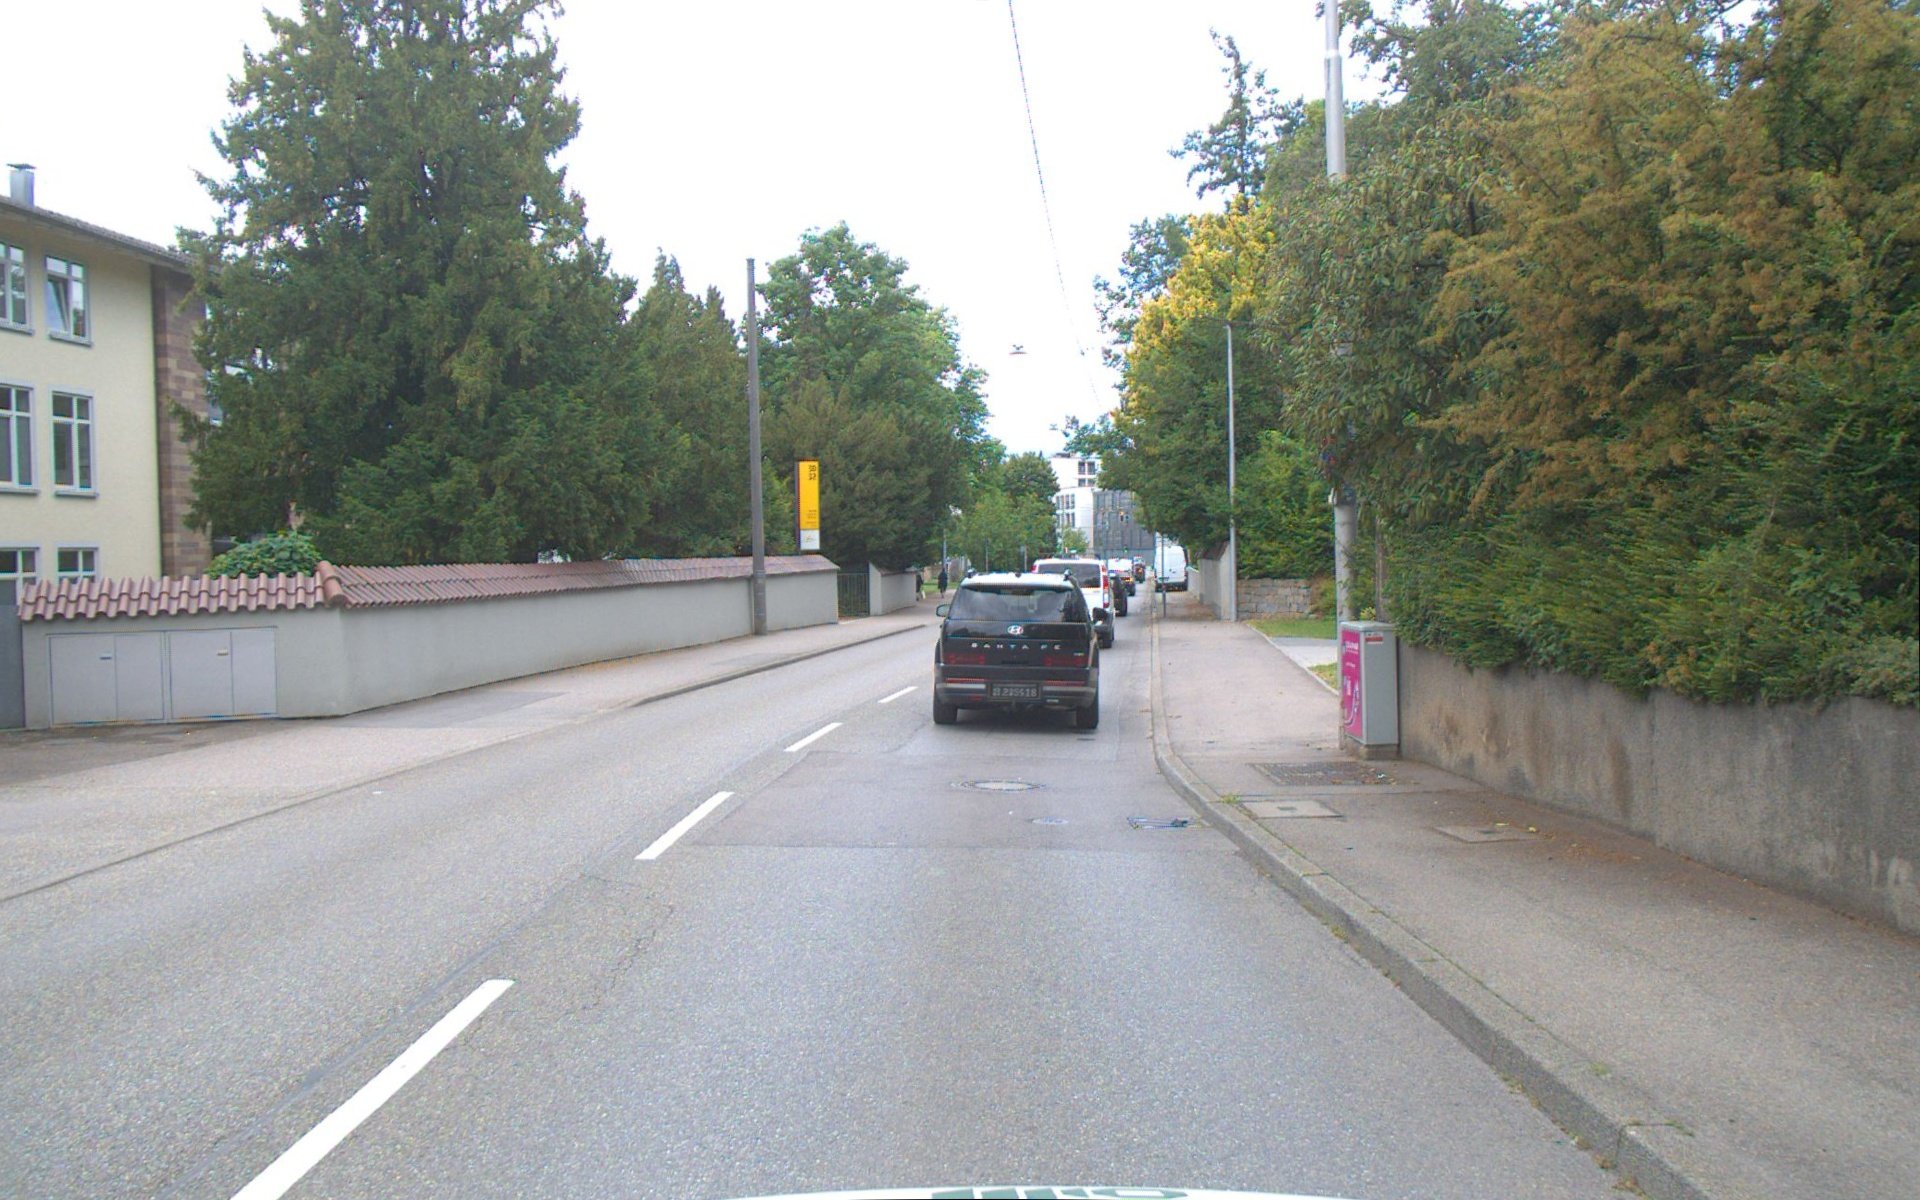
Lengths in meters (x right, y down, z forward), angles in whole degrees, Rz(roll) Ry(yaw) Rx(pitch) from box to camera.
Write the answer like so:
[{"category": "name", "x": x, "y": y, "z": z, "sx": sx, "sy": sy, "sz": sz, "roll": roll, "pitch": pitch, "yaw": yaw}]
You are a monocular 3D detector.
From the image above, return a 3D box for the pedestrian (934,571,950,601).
[{"category": "pedestrian", "x": -0.944, "y": -0.751, "z": 88.770, "sx": 0.733, "sy": 1.605, "sz": 0.967, "roll": 1, "pitch": 1, "yaw": 7}]

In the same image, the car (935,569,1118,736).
[{"category": "car", "x": 0.740, "y": 0.520, "z": 19.617, "sx": 1.923, "sy": 1.741, "sz": 4.001, "roll": 1, "pitch": 1, "yaw": 1}]

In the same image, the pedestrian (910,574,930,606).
[{"category": "pedestrian", "x": -2.010, "y": -0.493, "z": 83.345, "sx": 0.906, "sy": 1.587, "sz": 0.903, "roll": 2, "pitch": 0, "yaw": 3}]

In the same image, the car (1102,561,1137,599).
[{"category": "car", "x": 8.969, "y": -1.135, "z": 92.811, "sx": 1.922, "sy": 2.036, "sz": 4.003, "roll": -1, "pitch": 0, "yaw": 6}]

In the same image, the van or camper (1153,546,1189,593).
[{"category": "van or camper", "x": 12.884, "y": -1.895, "z": 101.423, "sx": 1.922, "sy": 2.673, "sz": 6.364, "roll": -3, "pitch": 1, "yaw": 6}]

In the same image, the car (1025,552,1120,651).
[{"category": "car", "x": 2.557, "y": 0.013, "z": 36.886, "sx": 1.922, "sy": 2.036, "sz": 4.003, "roll": -1, "pitch": 0, "yaw": 6}]

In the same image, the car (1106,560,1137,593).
[{"category": "car", "x": 10.331, "y": -1.497, "z": 105.611, "sx": 1.922, "sy": 2.036, "sz": 4.003, "roll": -1, "pitch": 0, "yaw": 6}]

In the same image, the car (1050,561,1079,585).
[{"category": "car", "x": 6.653, "y": -1.714, "z": 105.304, "sx": 1.748, "sy": 1.453, "sz": 4.003, "roll": -2, "pitch": 1, "yaw": 4}]

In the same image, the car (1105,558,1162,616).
[{"category": "car", "x": 6.126, "y": -0.461, "z": 58.394, "sx": 1.922, "sy": 1.936, "sz": 4.003, "roll": -1, "pitch": 0, "yaw": 6}]
